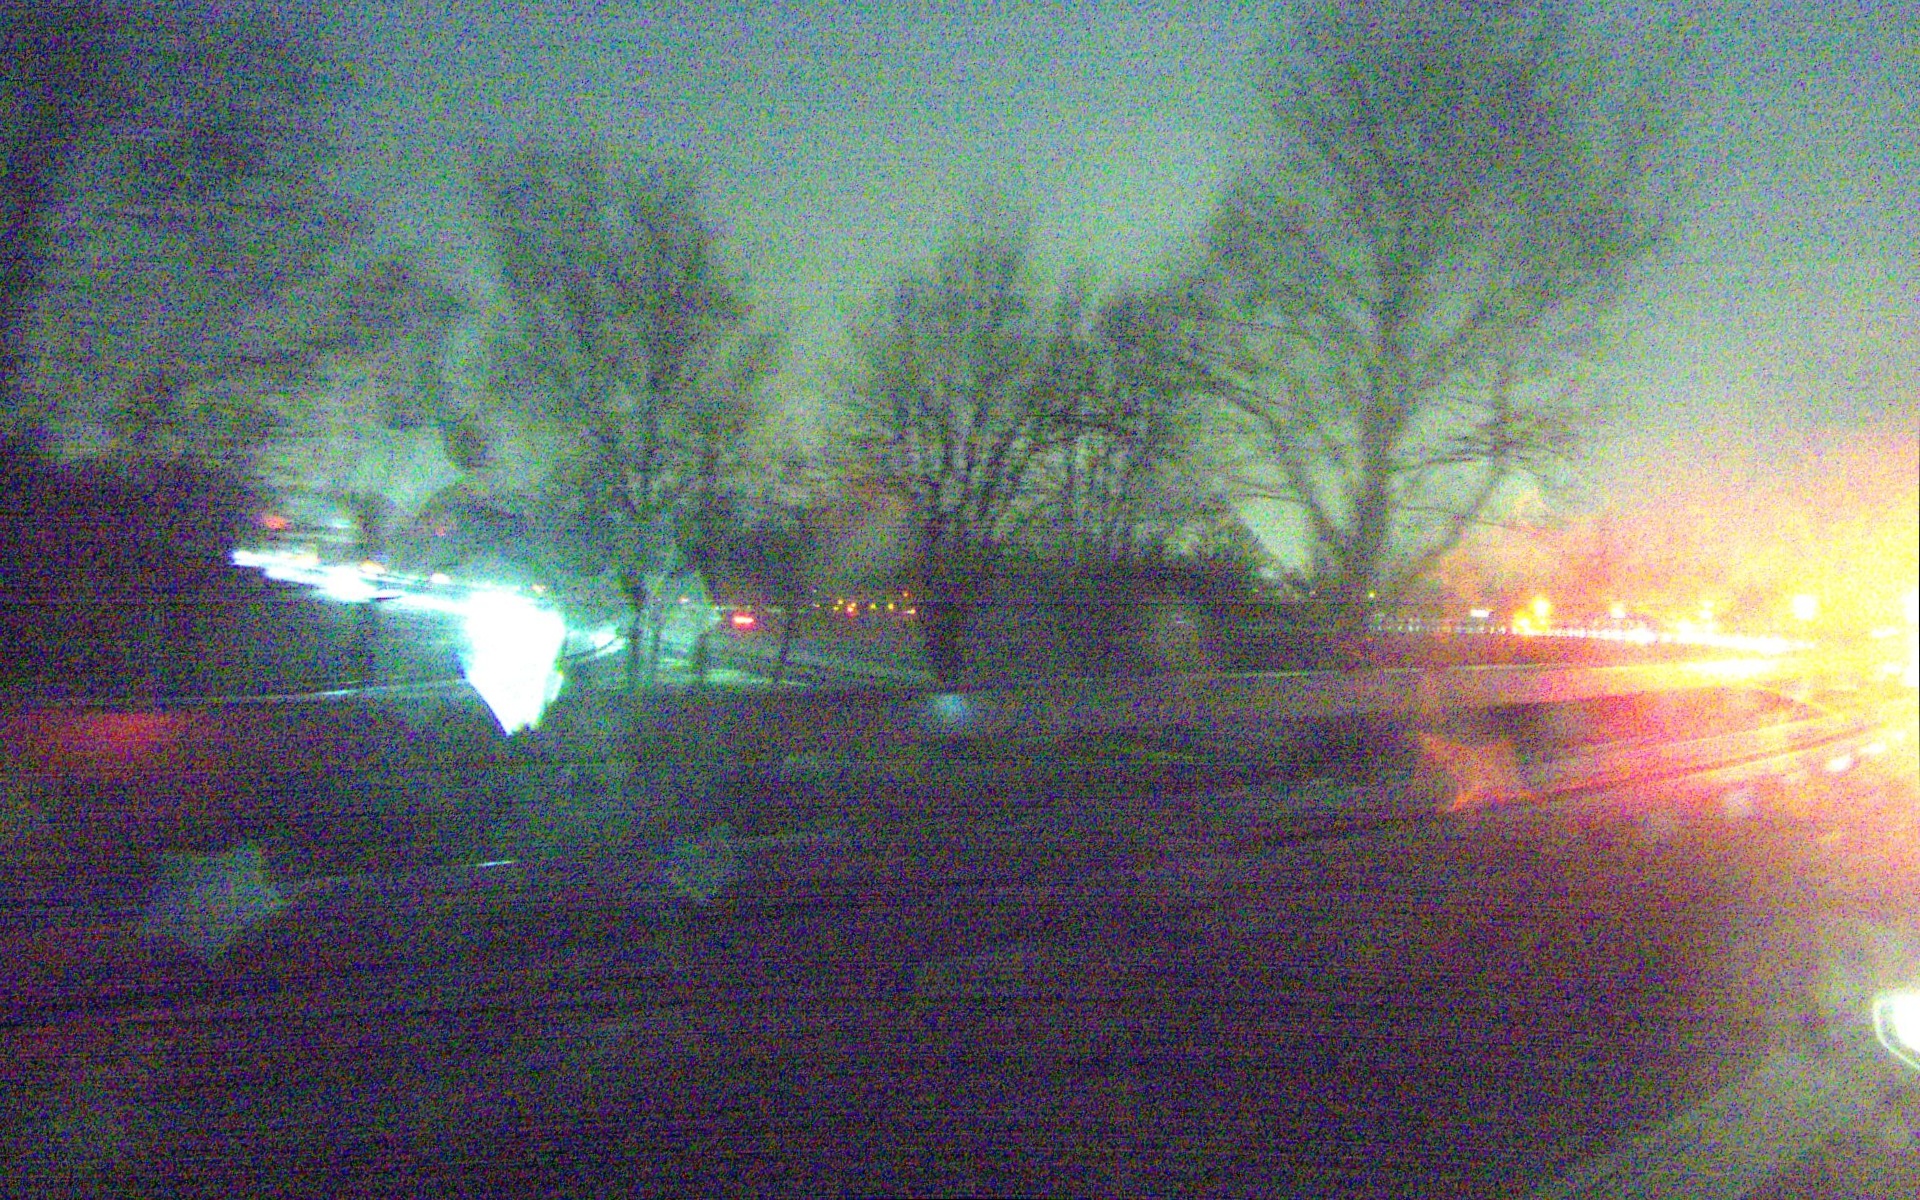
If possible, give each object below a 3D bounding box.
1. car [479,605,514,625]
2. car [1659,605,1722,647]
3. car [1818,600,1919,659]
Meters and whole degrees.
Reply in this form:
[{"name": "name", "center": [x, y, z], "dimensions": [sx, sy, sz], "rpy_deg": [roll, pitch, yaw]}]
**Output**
[{"name": "car", "center": [-45.356, 1.472, 98.221], "dimensions": [1.910, 1.775, 4.192], "rpy_deg": [4, -3, -42]}, {"name": "car", "center": [37.187, 1.299, 51.222], "dimensions": [1.866, 2.024, 4.042], "rpy_deg": [-1, -1, 25]}, {"name": "car", "center": [34.044, 1.070, 37.760], "dimensions": [1.867, 2.067, 4.039], "rpy_deg": [1, 0, 28]}]
